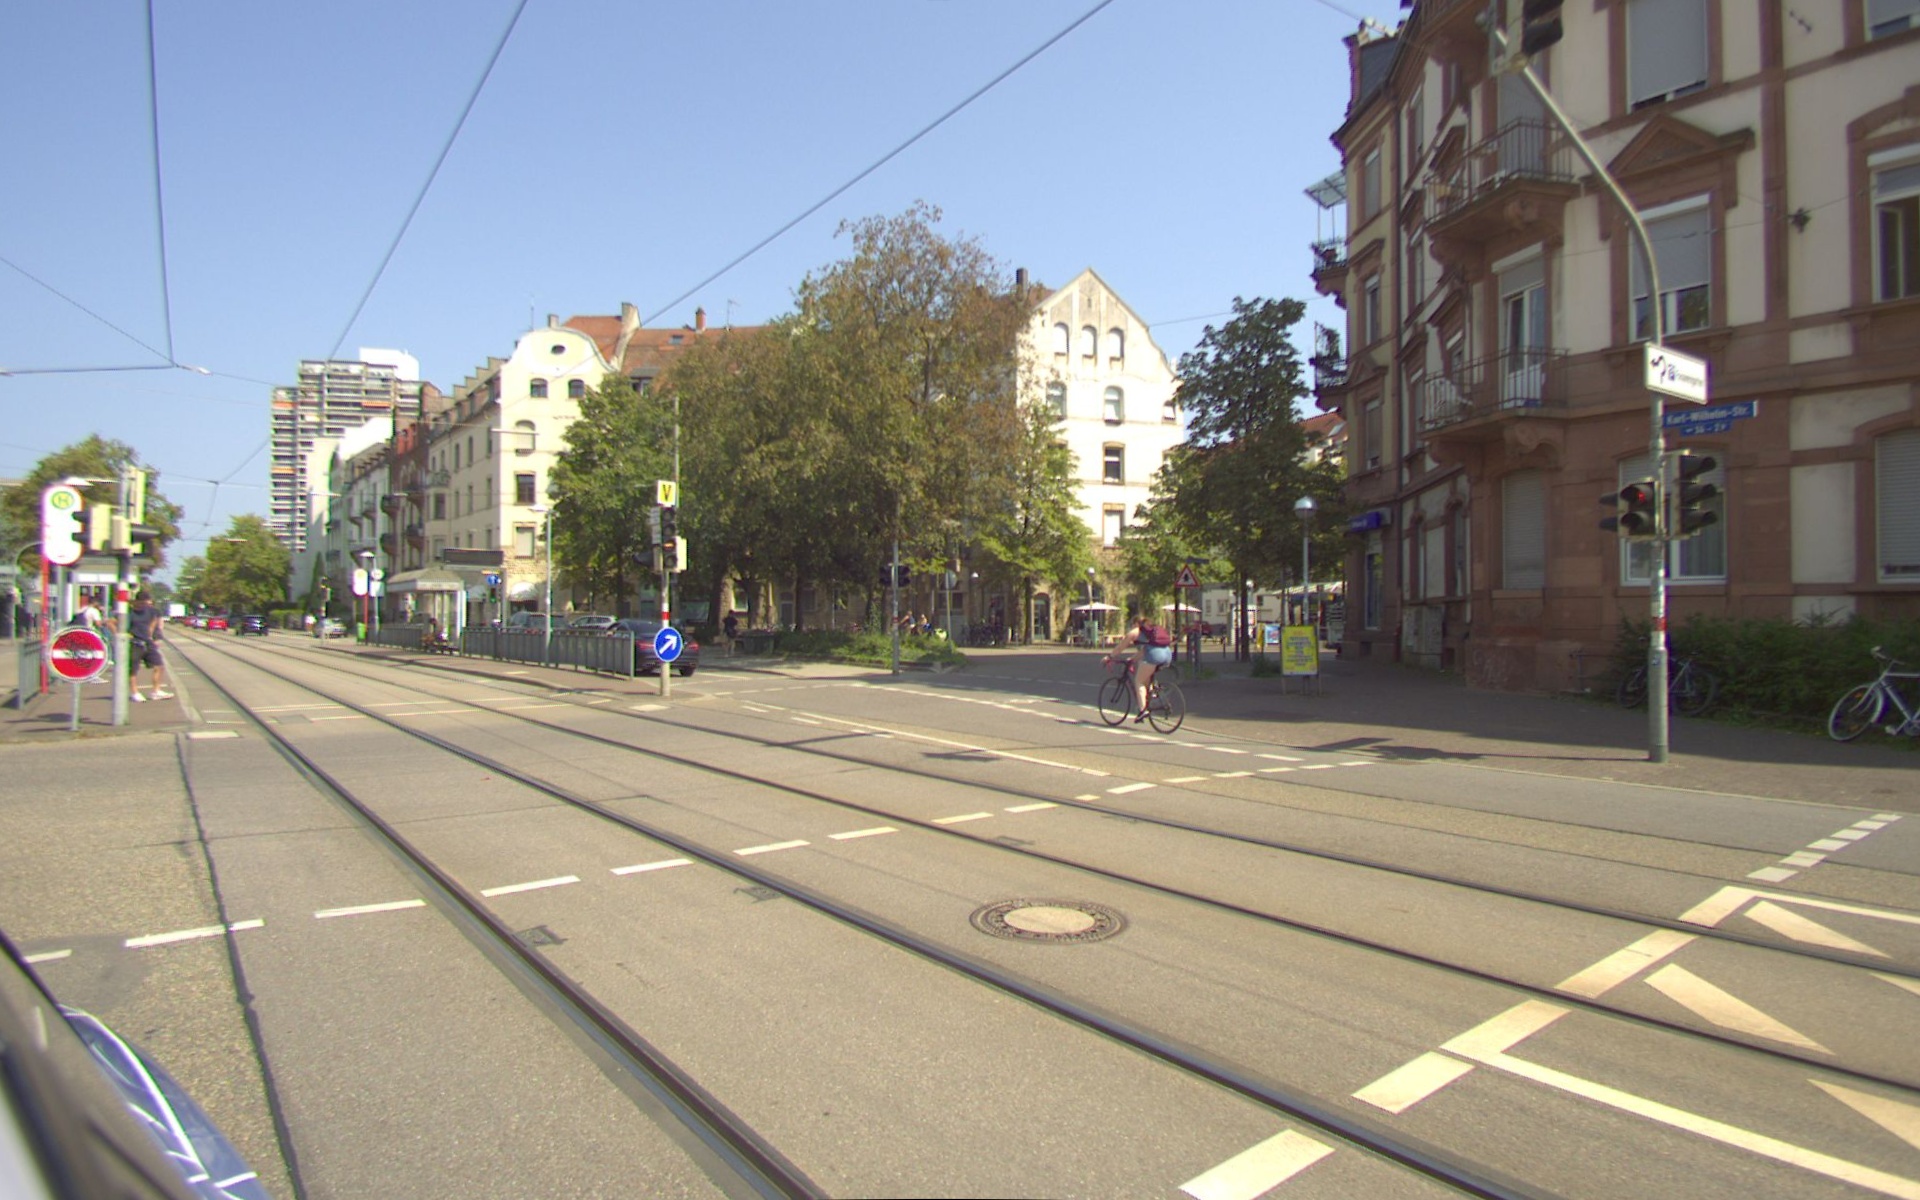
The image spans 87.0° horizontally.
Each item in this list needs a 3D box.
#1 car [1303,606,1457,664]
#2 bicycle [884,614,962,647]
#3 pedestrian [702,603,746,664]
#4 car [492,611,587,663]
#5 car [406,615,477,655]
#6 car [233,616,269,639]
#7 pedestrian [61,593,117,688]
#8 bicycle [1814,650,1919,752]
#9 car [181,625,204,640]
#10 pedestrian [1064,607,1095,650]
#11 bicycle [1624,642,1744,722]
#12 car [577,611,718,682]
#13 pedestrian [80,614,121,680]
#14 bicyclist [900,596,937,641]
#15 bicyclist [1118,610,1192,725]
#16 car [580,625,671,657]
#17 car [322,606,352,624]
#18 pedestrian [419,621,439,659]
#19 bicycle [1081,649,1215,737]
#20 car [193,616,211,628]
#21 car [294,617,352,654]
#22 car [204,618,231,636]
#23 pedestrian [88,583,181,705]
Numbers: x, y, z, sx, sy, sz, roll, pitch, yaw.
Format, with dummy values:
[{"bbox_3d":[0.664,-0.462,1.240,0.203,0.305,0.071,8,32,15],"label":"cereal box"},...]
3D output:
[{"bbox_3d":[15.408,1.242,37.213,4.941,2.029,2.173,0,-1,-17],"label":"car"},{"bbox_3d":[-1.712,1.389,45.859,3.474,1.447,1.209,-1,-2,33],"label":"bicycle"},{"bbox_3d":[-8.038,1.121,34.495,1.077,2.029,1.038,-1,0,-40],"label":"pedestrian"},{"bbox_3d":[-14.550,1.250,34.852,1.967,1.660,4.641,2,-2,-36],"label":"car"},{"bbox_3d":[-23.616,1.594,45.986,1.968,1.739,4.639,2,-3,-38],"label":"car"},{"bbox_3d":[-56.082,2.172,80.027,1.968,1.739,4.639,2,-3,-38],"label":"car"},{"bbox_3d":[-17.768,0.818,20.660,0.664,1.899,0.926,1,-2,-30],"label":"pedestrian"},{"bbox_3d":[10.030,1.059,10.641,0.482,1.005,1.830,0,-1,-2],"label":"bicycle"},{"bbox_3d":[-90.685,3.875,119.559,1.968,1.739,4.639,2,-3,-38],"label":"car"},{"bbox_3d":[5.808,1.381,49.181,1.019,2.029,1.098,-1,0,-34],"label":"pedestrian"},{"bbox_3d":[9.939,1.092,13.962,0.389,1.005,1.679,0,-1,-2],"label":"bicycle"},{"bbox_3d":[-8.148,1.173,26.121,1.967,1.660,4.640,2,-3,-37],"label":"car"},{"bbox_3d":[-21.318,1.164,25.111,0.727,1.596,0.855,1,-2,-40],"label":"pedestrian"},{"bbox_3d":[-1.869,0.830,45.964,1.208,2.029,1.196,0,-1,33],"label":"bicyclist"},{"bbox_3d":[2.611,0.888,13.591,0.573,1.482,0.777,1,-2,-39],"label":"bicyclist"},{"bbox_3d":[-19.366,2.364,58.639,4.572,1.739,1.997,1,-2,5],"label":"car"},{"bbox_3d":[-61.135,1.488,99.296,1.968,1.739,4.639,2,-3,-38],"label":"car"},{"bbox_3d":[-17.915,1.344,34.160,0.472,1.260,0.649,1,-2,-38],"label":"pedestrian"},{"bbox_3d":[2.506,1.224,13.711,0.573,1.074,1.846,1,-2,-39],"label":"bicycle"},{"bbox_3d":[-108.523,3.175,144.848,1.968,1.739,4.639,2,-3,-38],"label":"car"},{"bbox_3d":[-31.753,1.753,50.403,1.968,1.739,4.640,2,-3,-38],"label":"car"},{"bbox_3d":[-74.427,2.683,101.473,1.968,1.739,4.639,2,-3,-38],"label":"car"},{"bbox_3d":[-13.206,0.695,16.218,0.669,1.899,0.918,-1,-2,15],"label":"pedestrian"}]
